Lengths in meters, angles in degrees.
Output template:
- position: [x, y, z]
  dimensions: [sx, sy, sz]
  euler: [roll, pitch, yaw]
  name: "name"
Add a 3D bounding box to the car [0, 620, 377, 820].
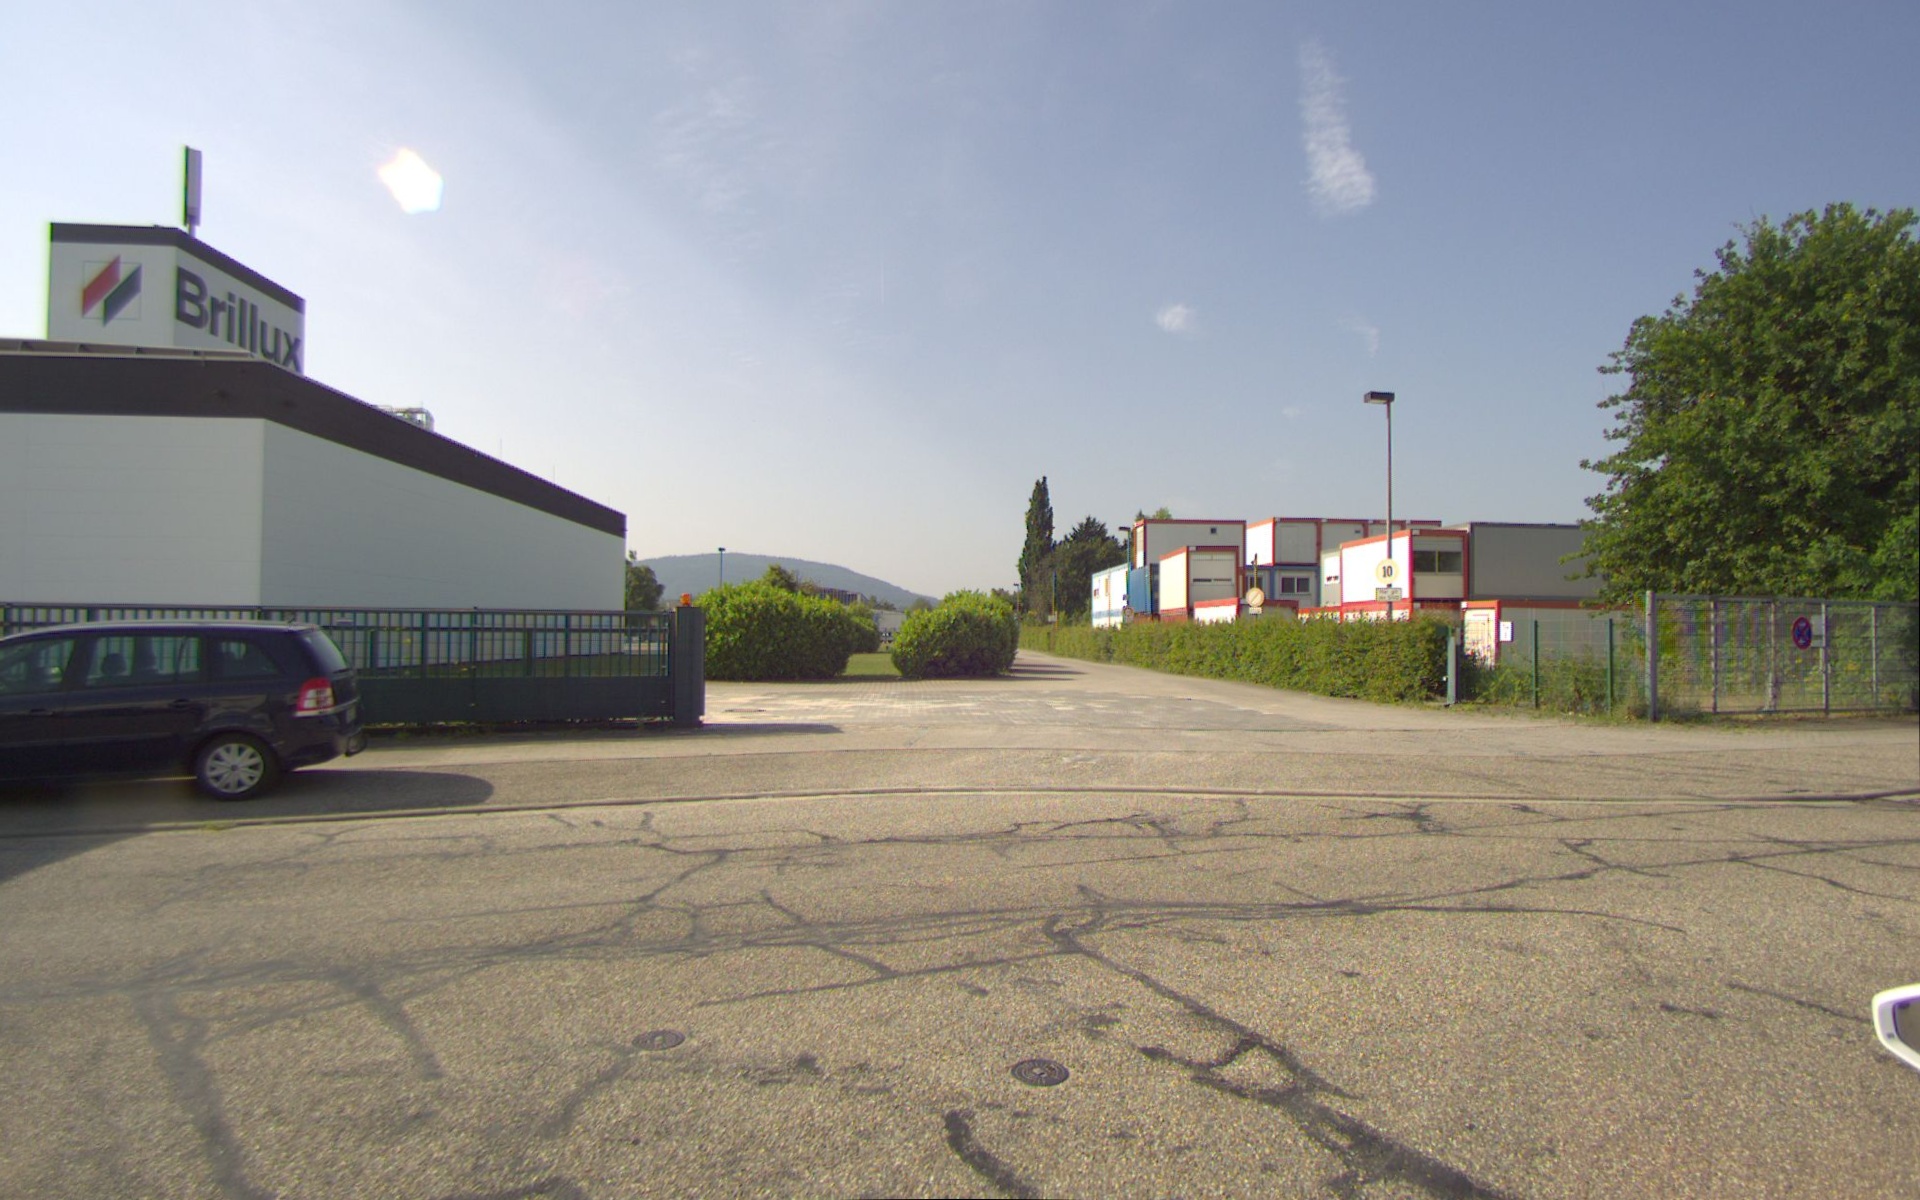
- position: [-8.281, 1.038, 9.486]
  dimensions: [4.522, 1.662, 1.989]
  euler: [1, 0, -23]
  name: "car"
